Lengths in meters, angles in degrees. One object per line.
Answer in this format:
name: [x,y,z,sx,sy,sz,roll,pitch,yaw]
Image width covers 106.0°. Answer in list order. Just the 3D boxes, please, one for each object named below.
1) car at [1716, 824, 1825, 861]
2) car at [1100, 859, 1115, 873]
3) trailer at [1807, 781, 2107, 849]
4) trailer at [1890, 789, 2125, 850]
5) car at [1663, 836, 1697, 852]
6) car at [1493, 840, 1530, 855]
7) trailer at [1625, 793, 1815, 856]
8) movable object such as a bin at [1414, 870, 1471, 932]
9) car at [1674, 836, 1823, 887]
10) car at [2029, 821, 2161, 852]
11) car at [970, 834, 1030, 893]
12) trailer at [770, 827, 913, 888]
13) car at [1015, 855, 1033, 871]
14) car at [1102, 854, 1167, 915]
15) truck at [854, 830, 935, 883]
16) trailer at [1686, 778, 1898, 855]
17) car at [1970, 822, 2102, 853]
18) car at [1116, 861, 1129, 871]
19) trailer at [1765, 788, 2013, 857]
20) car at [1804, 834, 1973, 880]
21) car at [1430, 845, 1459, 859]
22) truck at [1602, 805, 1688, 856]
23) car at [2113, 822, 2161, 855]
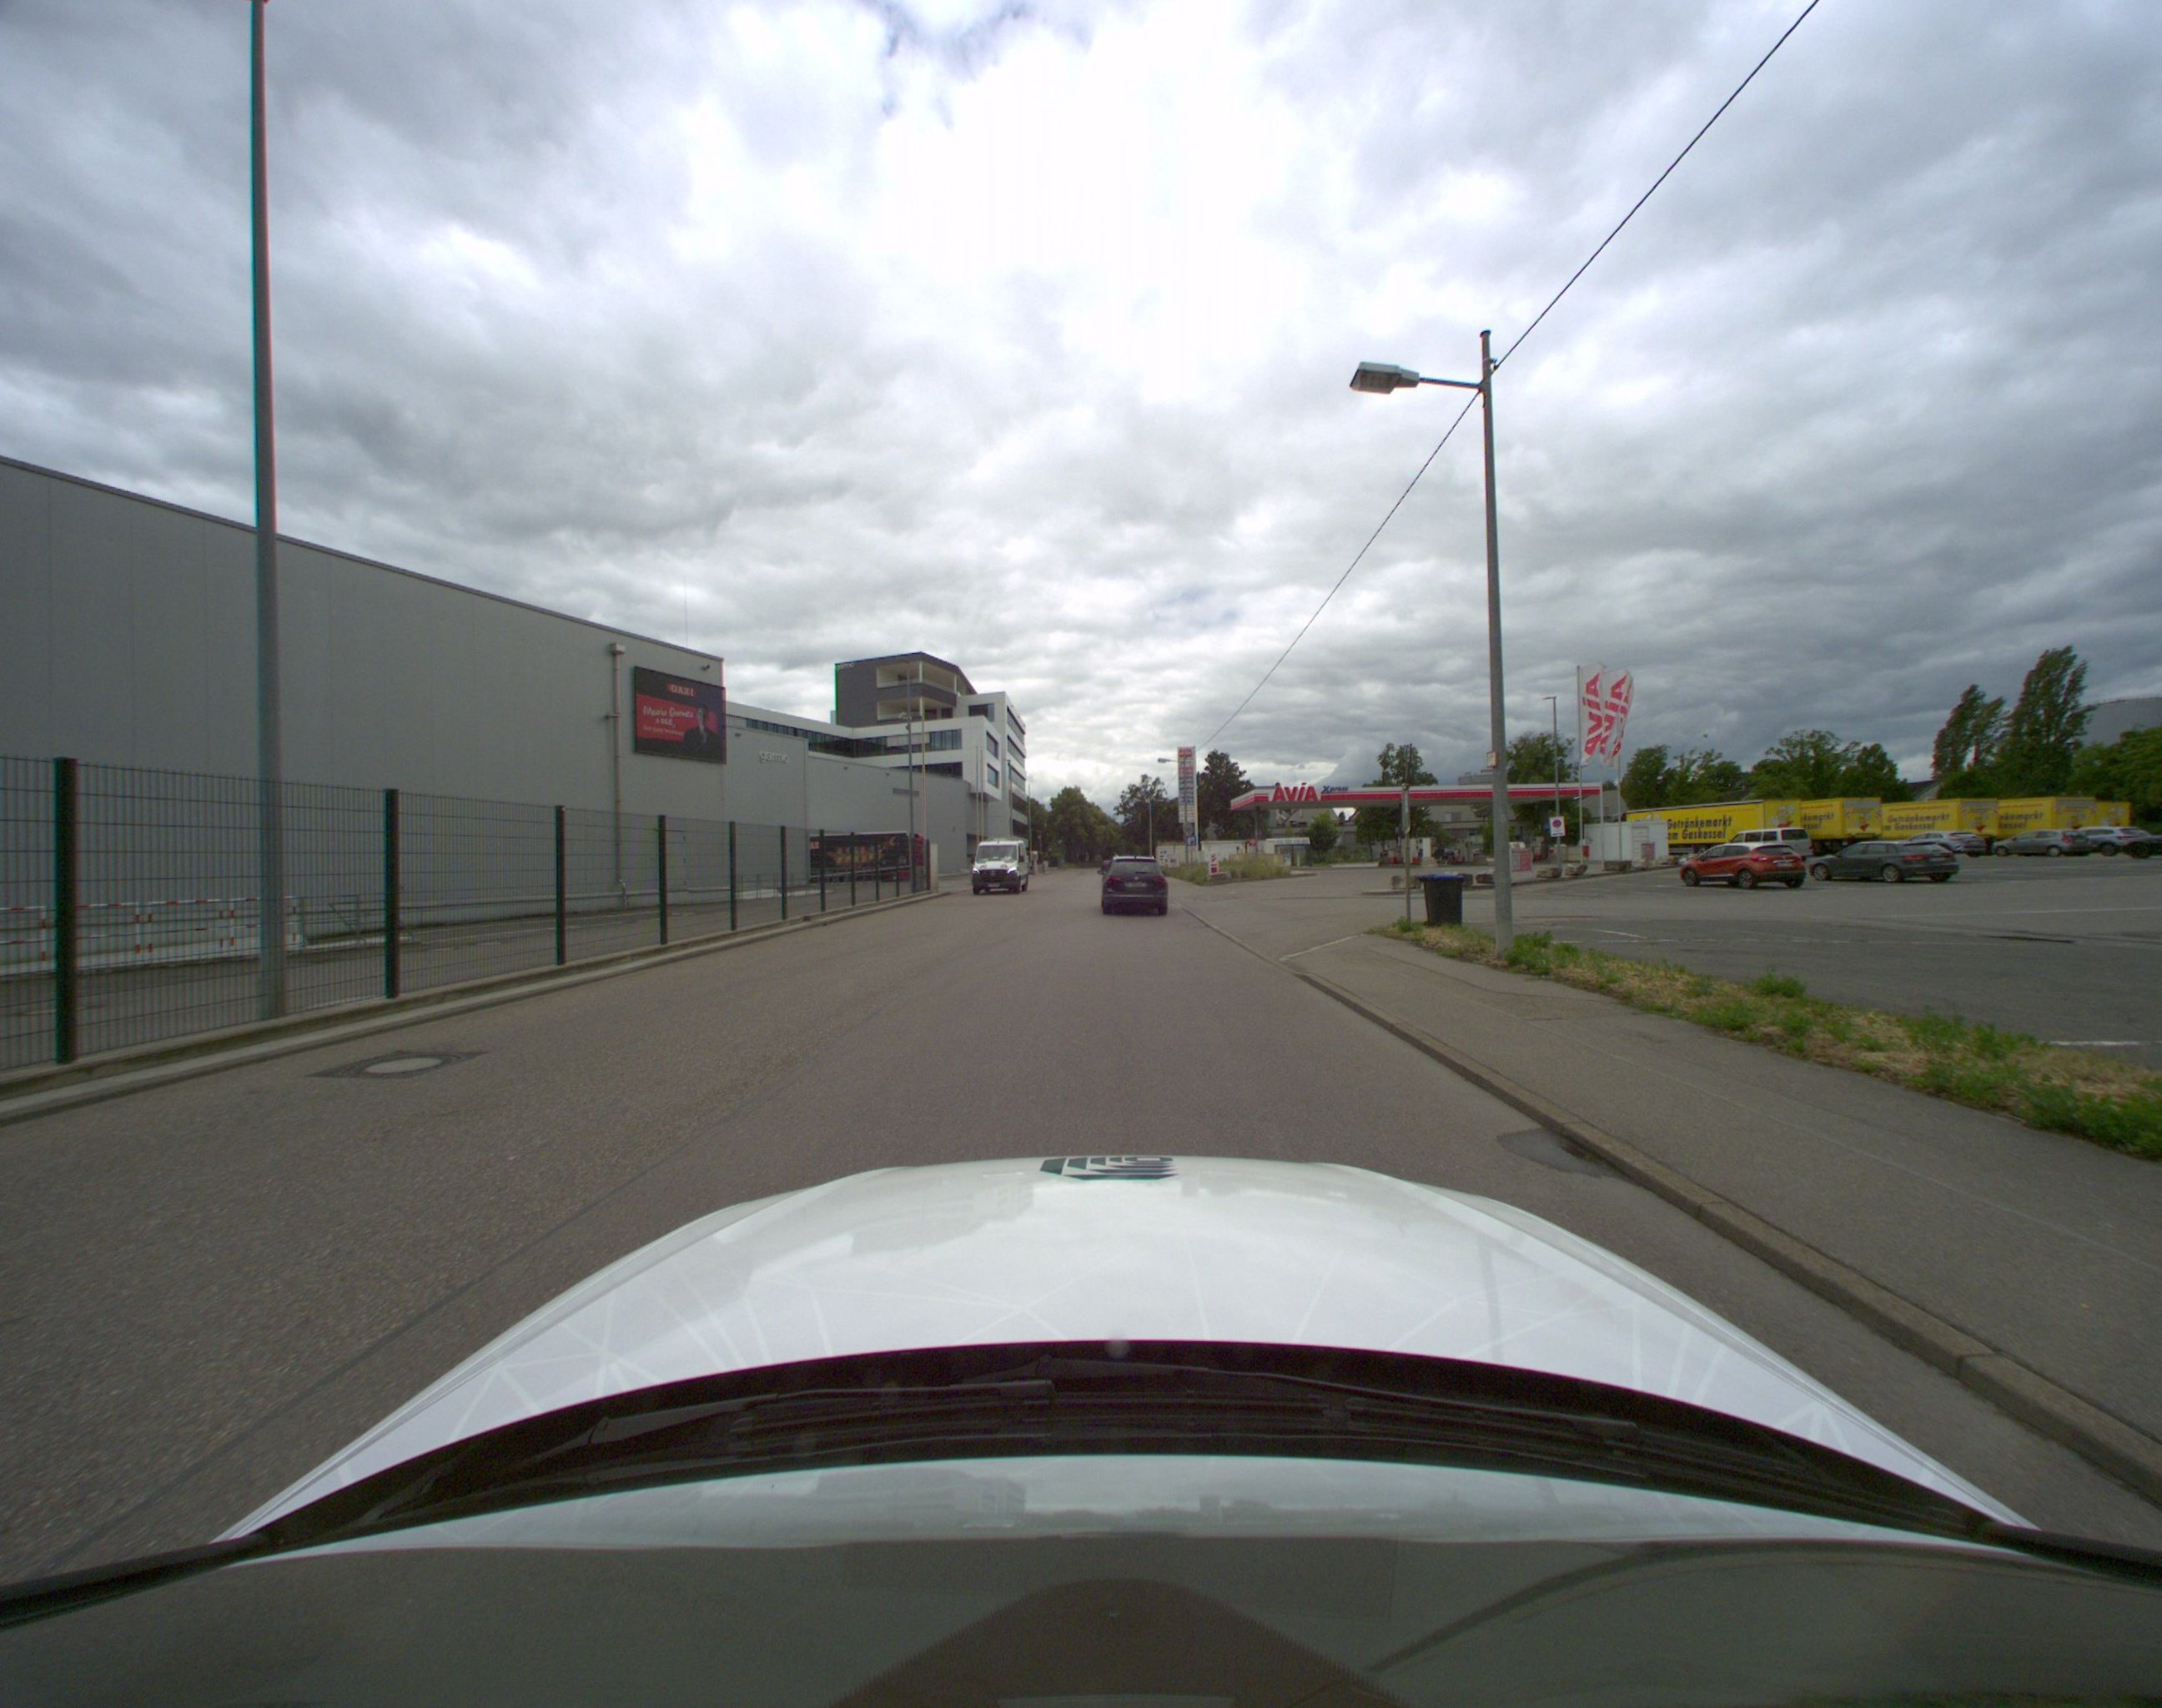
car: [38.711,-0.599,45.910,1.976,1.912,4.952,-2,0,1]
car: [3.333,1.520,103.785,1.832,1.616,4.002,-1,0,2]
trailer: [62.825,-2.507,59.935,2.681,3.915,18.072,-2,-1,1]
trailer: [70.813,-2.426,63.109,2.681,3.915,13.690,-2,-1,1]
car: [66.079,-1.059,89.912,1.981,1.651,4.628,-2,-1,23]
car: [50.610,-0.761,95.860,1.955,1.645,4.654,-2,-1,1]
trailer: [46.795,-1.941,60.739,2.989,3.915,14.302,-2,-1,1]
movable object such as a bin: [6.590,0.844,14.871,0.713,1.081,0.661,-1,0,-5]
car: [23.250,0.251,28.589,1.758,1.571,4.216,-3,-1,1]
car: [56.378,-0.943,45.240,1.976,1.601,4.690,-2,0,1]
car: [-3.525,0.400,36.418,1.986,2.416,5.258,0,0,2]
trailer: [-17.277,0.231,60.336,2.718,4.031,12.685,-1,0,22]
car: [-6.343,1.037,90.824,1.643,1.762,3.181,0,-1,3]
car: [1.563,0.845,23.646,1.731,1.618,3.645,0,-1,4]
truck: [-15.001,0.220,66.003,2.718,4.031,7.131,-1,0,22]
trailer: [50.755,-2.412,59.209,2.989,4.723,14.302,-2,-1,1]
car: [53.704,-0.886,45.943,1.976,1.601,4.690,-2,0,1]
car: [7.826,2.203,153.646,1.981,1.786,4.012,-1,-1,11]
trailer: [59.119,-2.022,60.804,3.010,4.260,15.726,-2,-1,1]
car: [28.040,0.122,28.499,1.758,1.391,4.216,-3,-1,1]
car: [42.410,-0.260,95.006,1.725,1.530,3.886,-2,-1,2]
truck: [46.889,-1.878,67.962,2.946,3.915,6.041,-2,-1,1]
car: [46.315,-0.680,33.458,1.976,1.369,4.686,-2,0,1]
